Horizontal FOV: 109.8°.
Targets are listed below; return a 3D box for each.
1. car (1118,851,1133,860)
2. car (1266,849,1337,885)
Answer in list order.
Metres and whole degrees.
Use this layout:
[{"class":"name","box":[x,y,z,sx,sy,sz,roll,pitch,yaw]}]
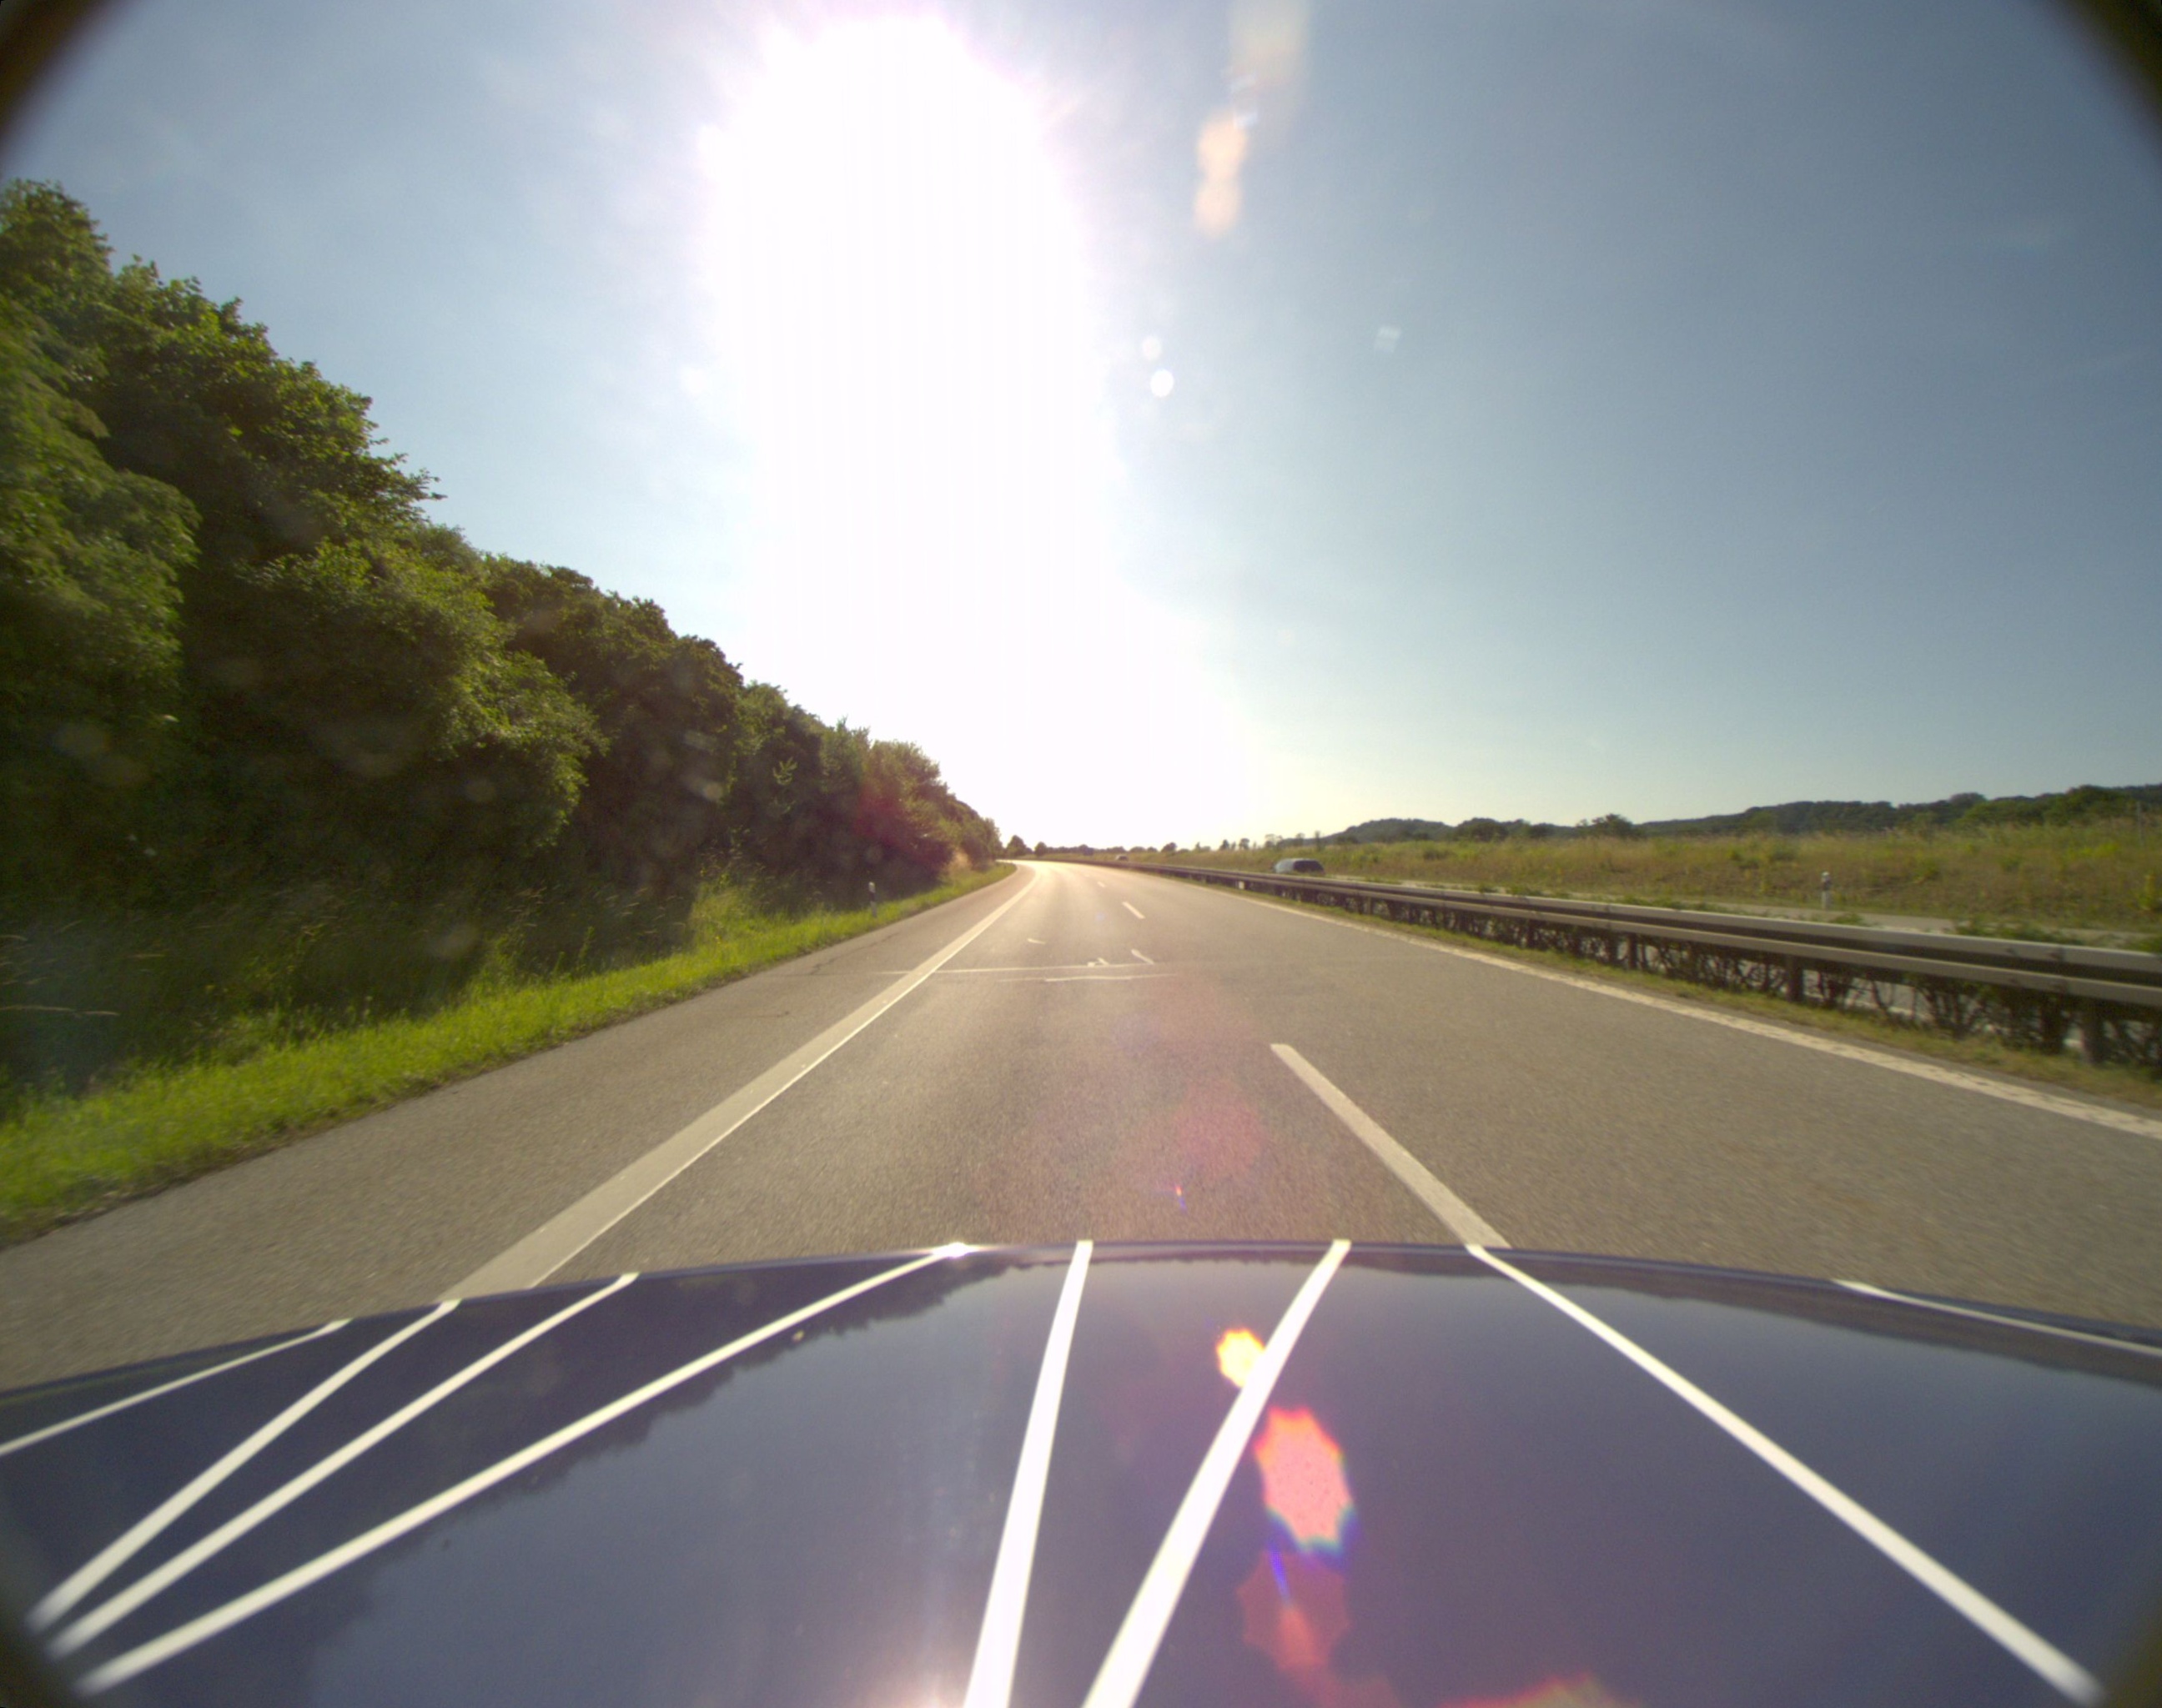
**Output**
[{"class":"car","box":[7.952,0.235,135.676,1.837,1.543,4.463,-1,0,-7]},{"class":"car","box":[10.441,0.569,36.396,1.836,1.499,4.540,-3,1,-3]}]
